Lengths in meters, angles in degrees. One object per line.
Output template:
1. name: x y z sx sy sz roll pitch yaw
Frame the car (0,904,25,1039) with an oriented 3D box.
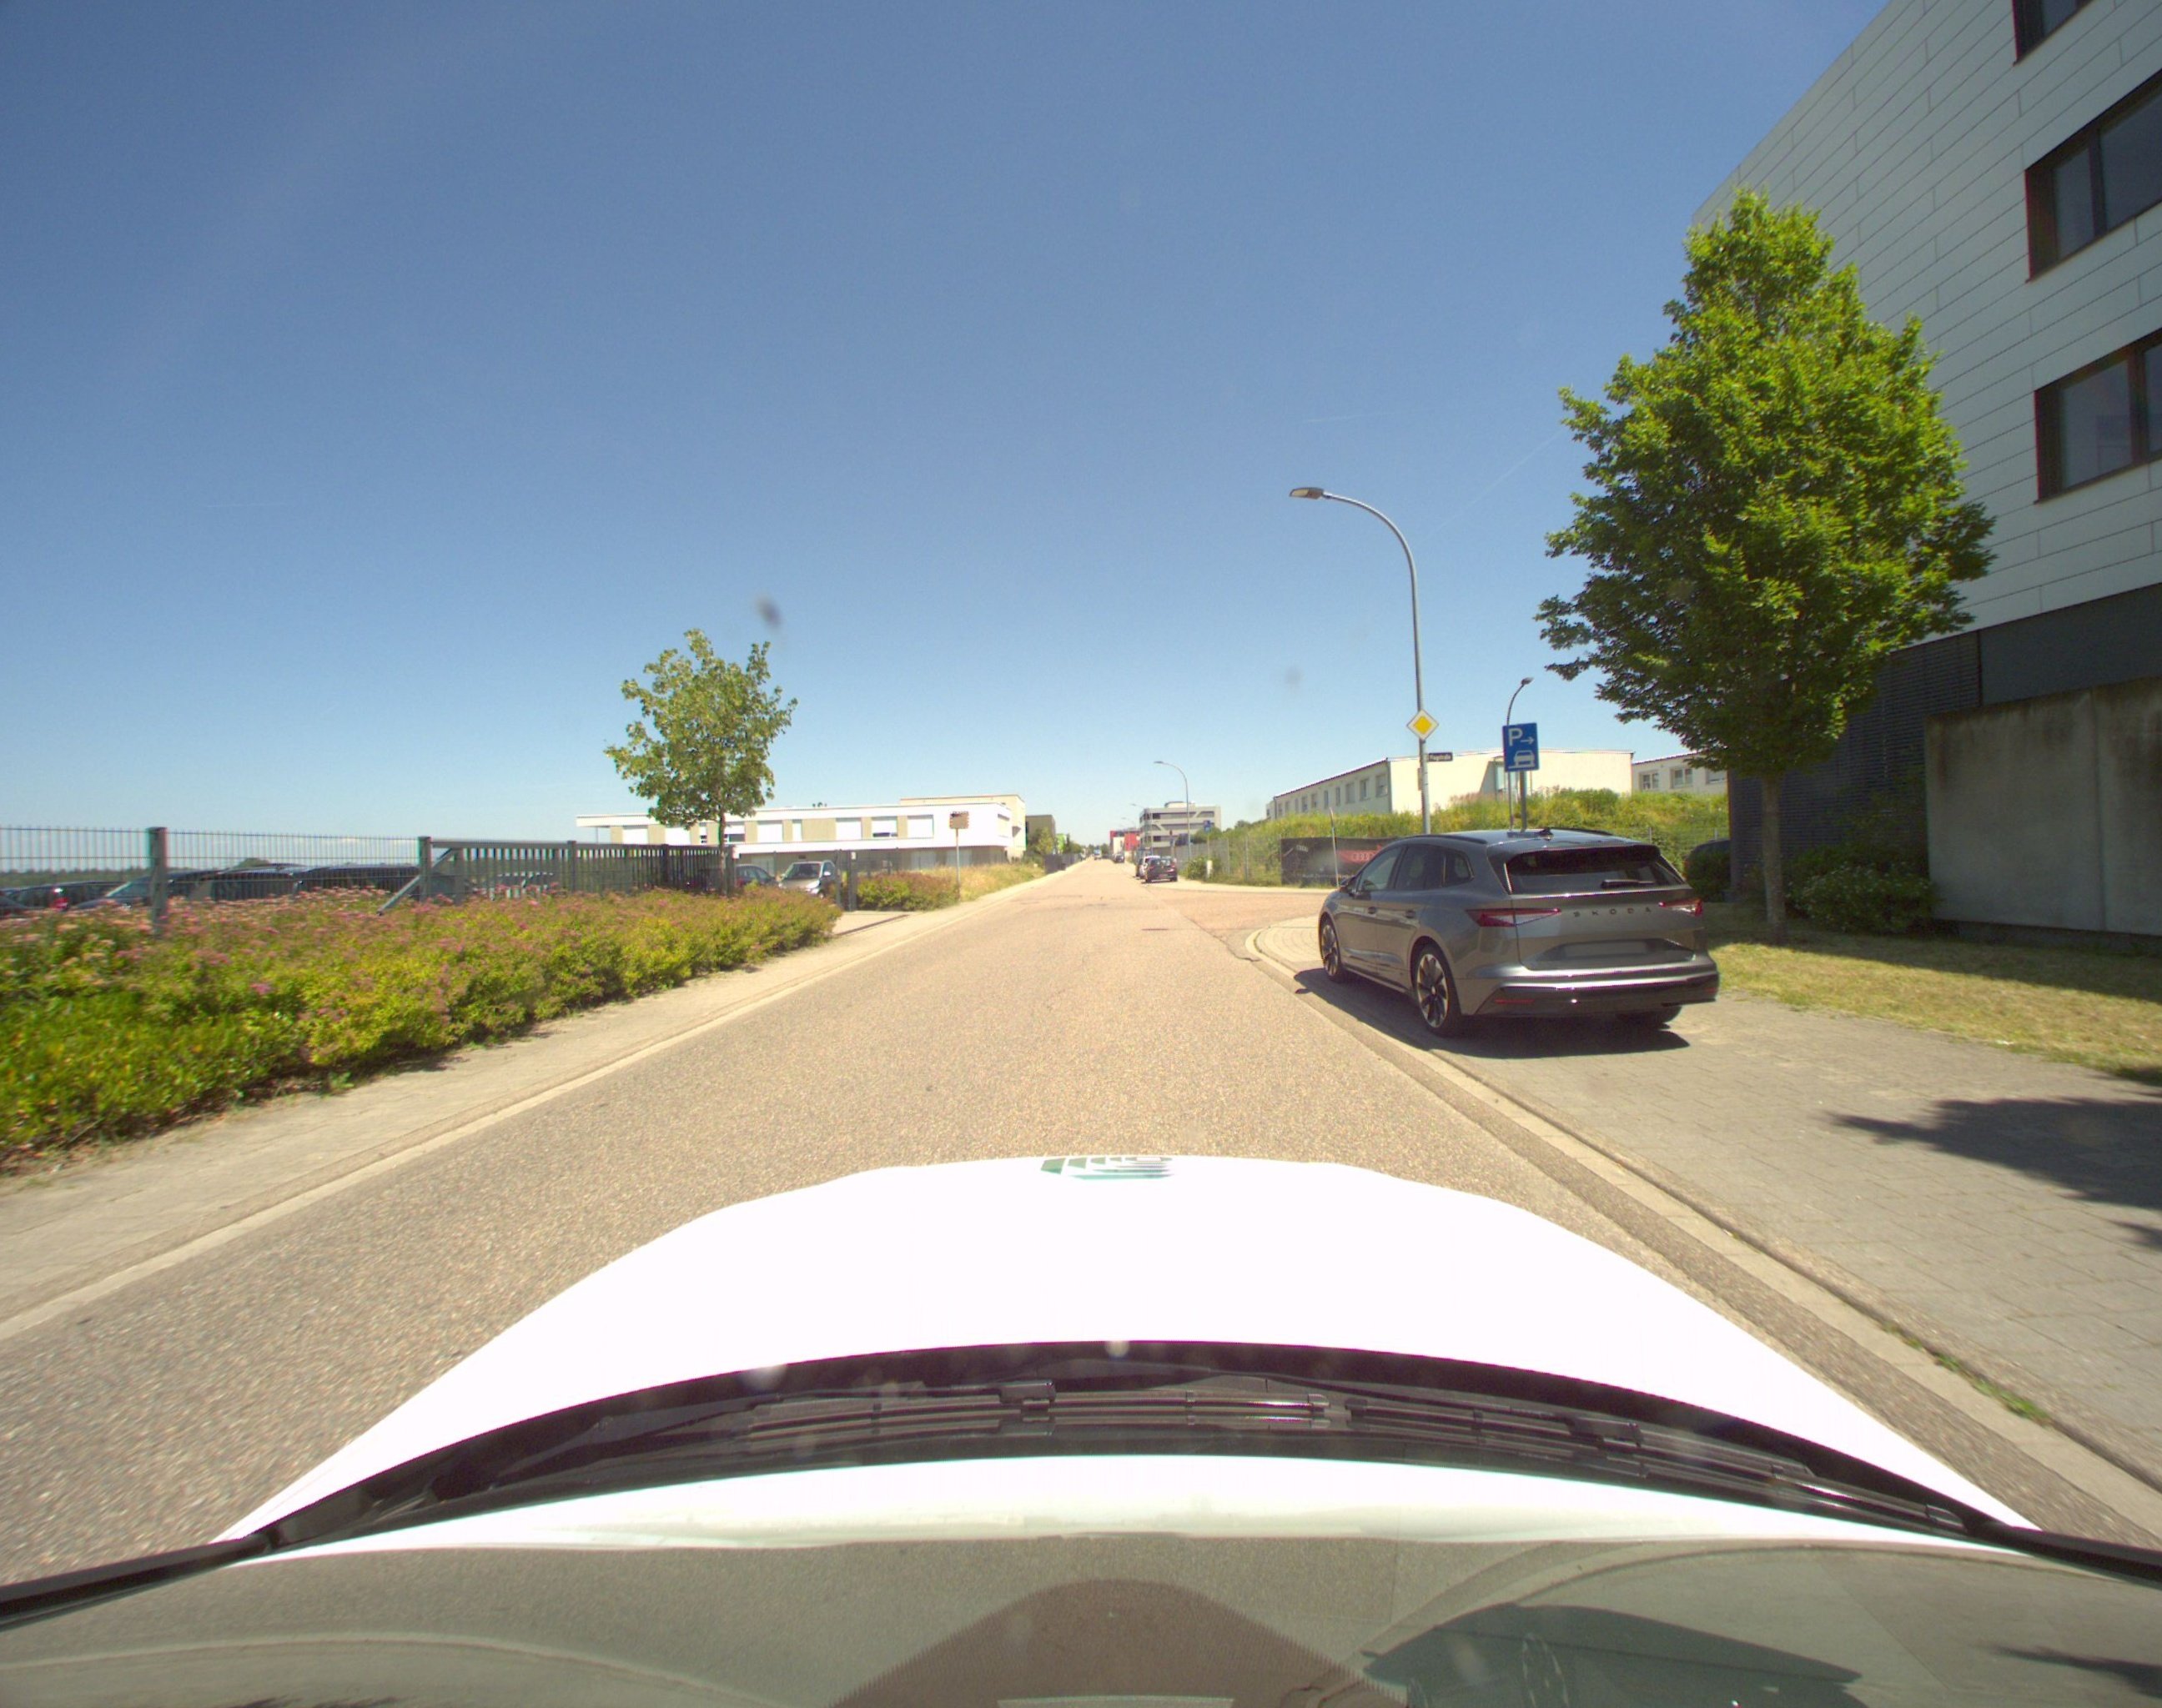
1. car: -11.373 1.157 6.028 1.789 1.281 4.003 -1 0 3

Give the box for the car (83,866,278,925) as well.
1. car: -28.030 1.217 25.575 1.667 1.605 3.998 -1 0 -1

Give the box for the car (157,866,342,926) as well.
1. car: -25.724 1.243 25.422 1.667 1.605 3.998 -2 0 -1

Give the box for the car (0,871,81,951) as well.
1. car: -21.443 1.086 15.038 3.842 1.420 1.799 -1 0 3

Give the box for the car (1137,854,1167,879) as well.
1. car: 4.849 0.825 56.036 1.899 1.546 4.005 -3 0 4

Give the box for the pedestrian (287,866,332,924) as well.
1. pedestrian: -22.307 1.170 23.556 0.620 1.629 0.772 -1 0 -13

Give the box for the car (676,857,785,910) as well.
1. car: -11.305 0.897 26.579 1.820 1.541 3.998 -2 0 -1

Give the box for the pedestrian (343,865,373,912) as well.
1. pedestrian: -22.156 1.060 24.973 0.489 1.413 0.494 -1 0 -13

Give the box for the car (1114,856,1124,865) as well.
1. car: 7.375 1.265 158.144 1.769 1.728 4.001 0 0 1

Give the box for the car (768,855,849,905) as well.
1. car: -9.108 0.836 27.461 1.695 1.520 2.996 -2 0 -1

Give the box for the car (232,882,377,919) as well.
1. car: -29.038 1.699 30.634 1.820 1.134 3.758 -2 0 -1

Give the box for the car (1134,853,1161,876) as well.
1. car: 5.106 0.791 62.492 1.899 1.546 4.005 -3 0 4

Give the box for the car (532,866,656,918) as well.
1. car: -15.752 1.170 26.596 1.667 1.440 3.998 -2 0 -1

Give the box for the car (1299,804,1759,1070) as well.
1. car: 3.620 0.545 7.767 1.798 1.662 4.608 -4 0 0

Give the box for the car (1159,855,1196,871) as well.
1. car: 12.288 1.112 103.753 4.604 2.013 2.610 0 0 4

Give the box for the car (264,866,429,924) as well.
1. car: -23.404 1.241 26.173 1.667 1.605 3.998 -2 0 -1

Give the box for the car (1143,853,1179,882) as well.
1. car: 4.592 0.744 47.126 1.899 1.448 4.005 -3 0 4

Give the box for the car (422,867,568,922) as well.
1. car: -18.170 1.202 25.513 1.667 1.440 3.998 -2 0 -1

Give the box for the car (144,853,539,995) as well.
1. car: -10.524 0.873 12.119 1.985 1.723 4.095 -1 0 3
